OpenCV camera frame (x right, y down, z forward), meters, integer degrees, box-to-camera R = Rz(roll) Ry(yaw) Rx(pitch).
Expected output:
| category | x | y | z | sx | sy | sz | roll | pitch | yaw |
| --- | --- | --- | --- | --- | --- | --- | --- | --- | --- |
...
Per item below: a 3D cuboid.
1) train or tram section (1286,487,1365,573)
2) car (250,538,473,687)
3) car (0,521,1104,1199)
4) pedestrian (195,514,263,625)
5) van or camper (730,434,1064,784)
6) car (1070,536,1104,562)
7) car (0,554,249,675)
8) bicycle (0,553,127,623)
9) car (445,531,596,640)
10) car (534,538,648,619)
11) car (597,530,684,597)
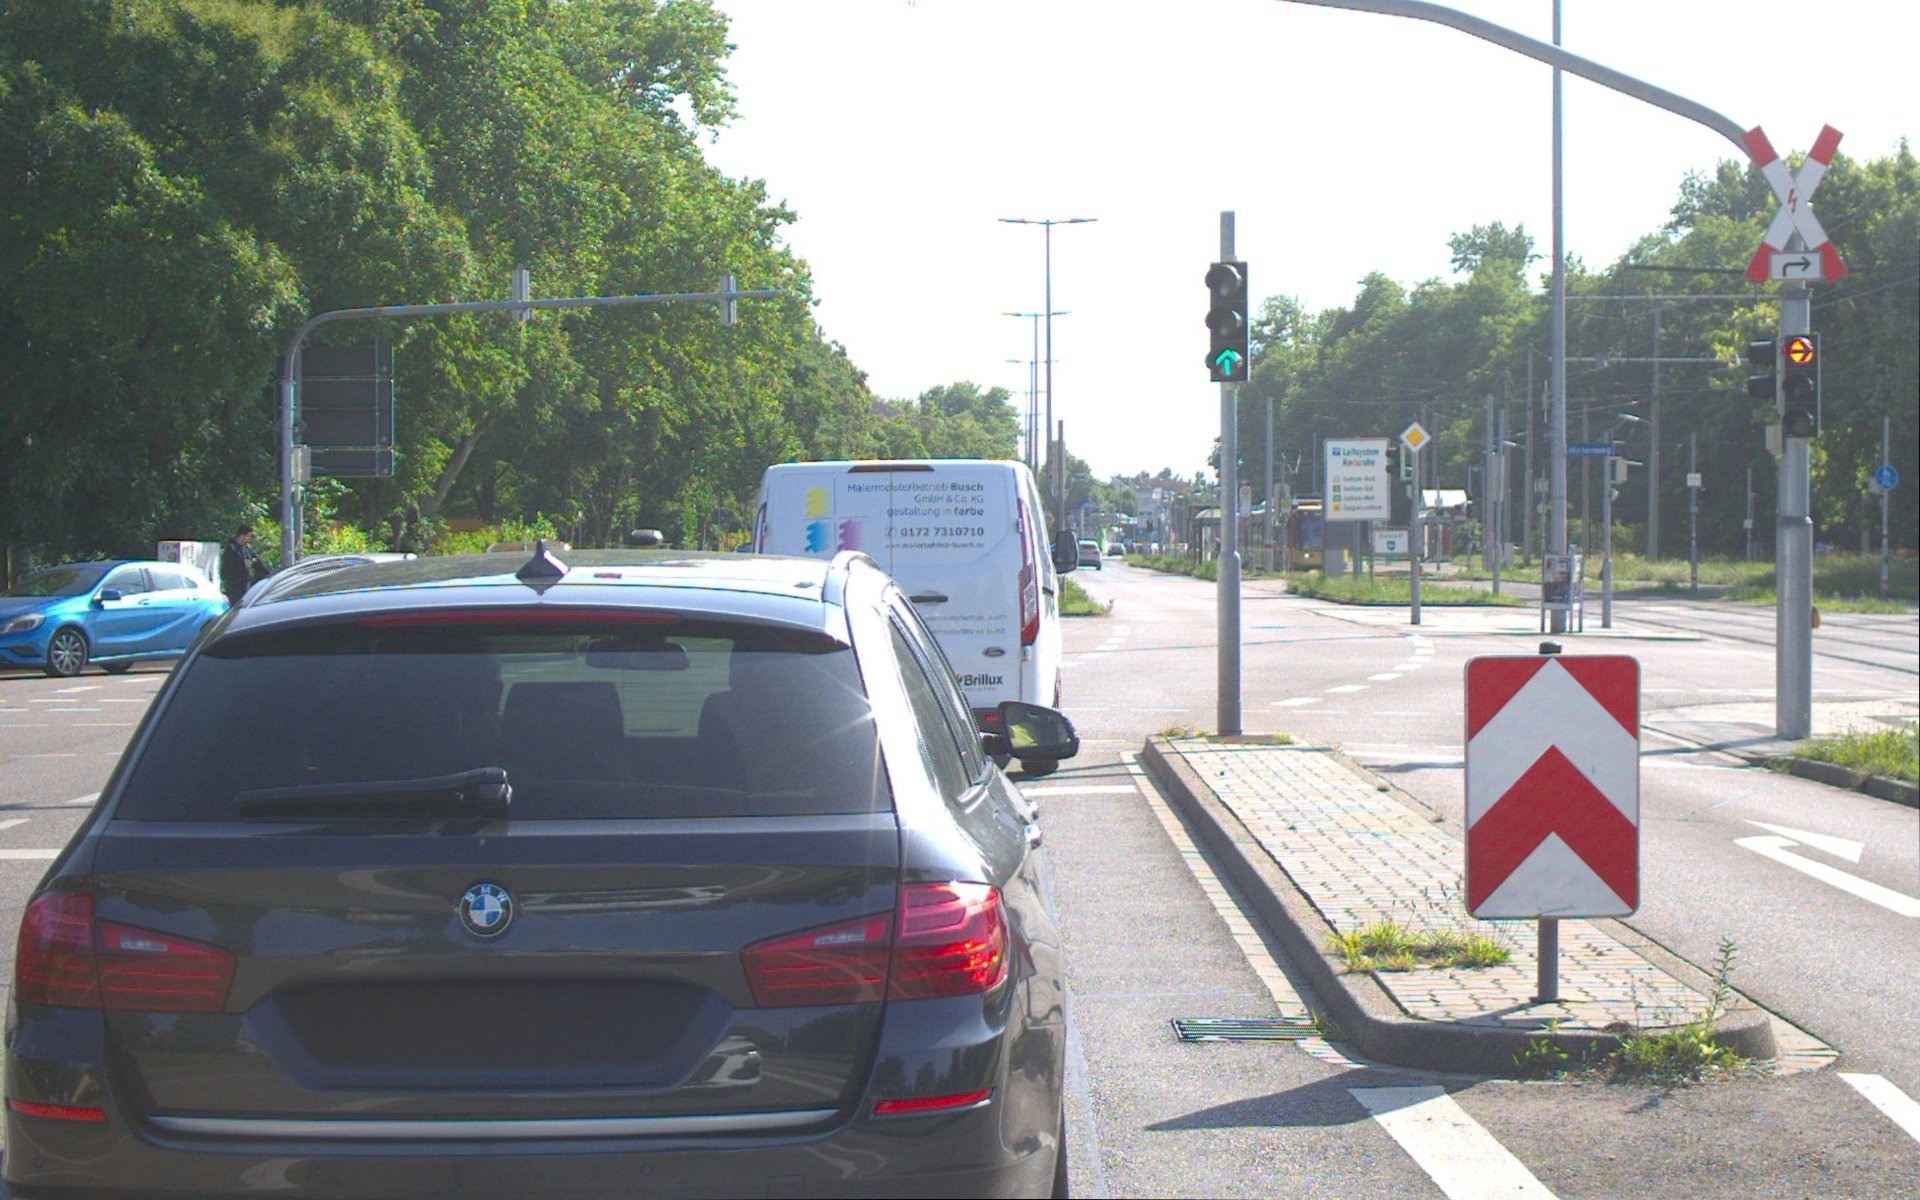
| category | x | y | z | sx | sy | sz | roll | pitch | yaw |
| --- | --- | --- | --- | --- | --- | --- | --- | --- | --- |
| train or tram section | 16.102 | -3.043 | 152.260 | 2.796 | 3.606 | 12.954 | 1 | 1 | 3 |
| car | -6.433 | 0.090 | 37.347 | 1.702 | 1.460 | 4.370 | -2 | 1 | -1 |
| car | -0.752 | 0.593 | 7.192 | 1.903 | 1.500 | 4.065 | 0 | 1 | 0 |
| pedestrian | -11.623 | -0.493 | 54.680 | 0.816 | 1.746 | 0.931 | 0 | 1 | 5 |
| van or camper | -0.340 | 0.011 | 22.826 | 1.993 | 2.089 | 4.598 | 0 | 1 | 1 |
| car | 7.123 | -2.879 | 193.550 | 1.793 | 1.481 | 3.900 | 0 | 1 | 0 |
| car | -10.977 | 0.141 | 42.966 | 1.782 | 1.410 | 4.238 | 1 | 1 | 29 |
| bicycle | -14.272 | -0.194 | 54.655 | 1.909 | 1.115 | 0.632 | 0 | 1 | 0 |
| car | -6.720 | -0.254 | 52.954 | 1.745 | 1.556 | 4.000 | -2 | 1 | 0 |
| car | -7.043 | -0.439 | 66.001 | 1.888 | 1.469 | 4.100 | -1 | 1 | -2 |
| car | -7.444 | -0.878 | 80.421 | 1.788 | 1.515 | 4.001 | -1 | 1 | -2 |
